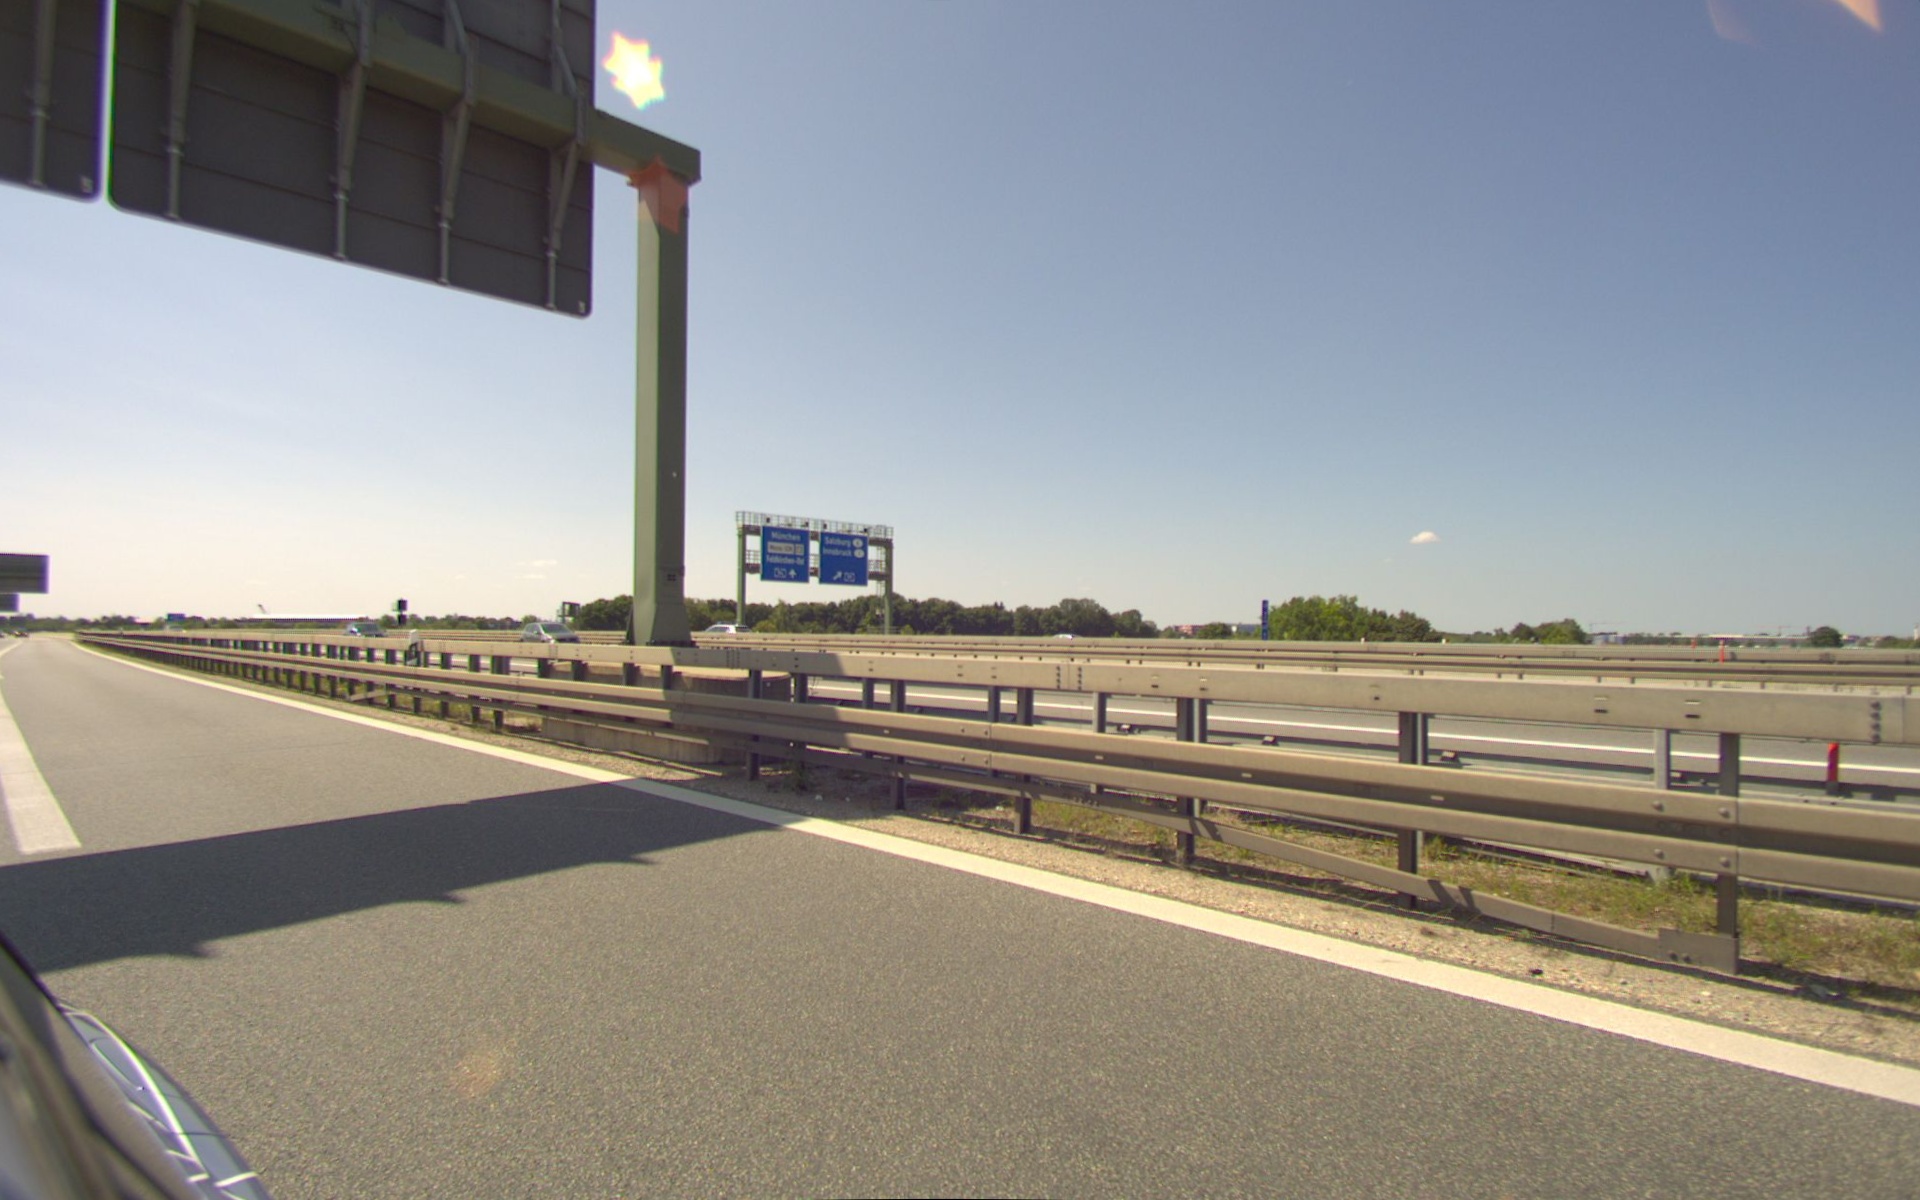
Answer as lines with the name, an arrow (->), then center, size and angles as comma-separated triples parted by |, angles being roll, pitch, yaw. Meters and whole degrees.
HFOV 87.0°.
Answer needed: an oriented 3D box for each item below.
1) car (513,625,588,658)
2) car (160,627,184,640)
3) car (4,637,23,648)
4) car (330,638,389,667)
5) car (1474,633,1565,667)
car -> -19.168, 1.904, 47.331 | 4.218, 1.433, 1.742 | -1, -1, 45
car -> -97.741, 4.156, 125.511 | 4.578, 1.529, 1.817 | -1, -1, 45
car -> -150.494, 6.756, 160.904 | 4.002, 1.767, 1.971 | -1, -1, 45
car -> -33.465, 2.894, 56.331 | 4.219, 1.443, 1.809 | -1, -1, 45
car -> 25.732, 2.281, 46.605 | 3.345, 1.364, 1.560 | 2, 0, 44
